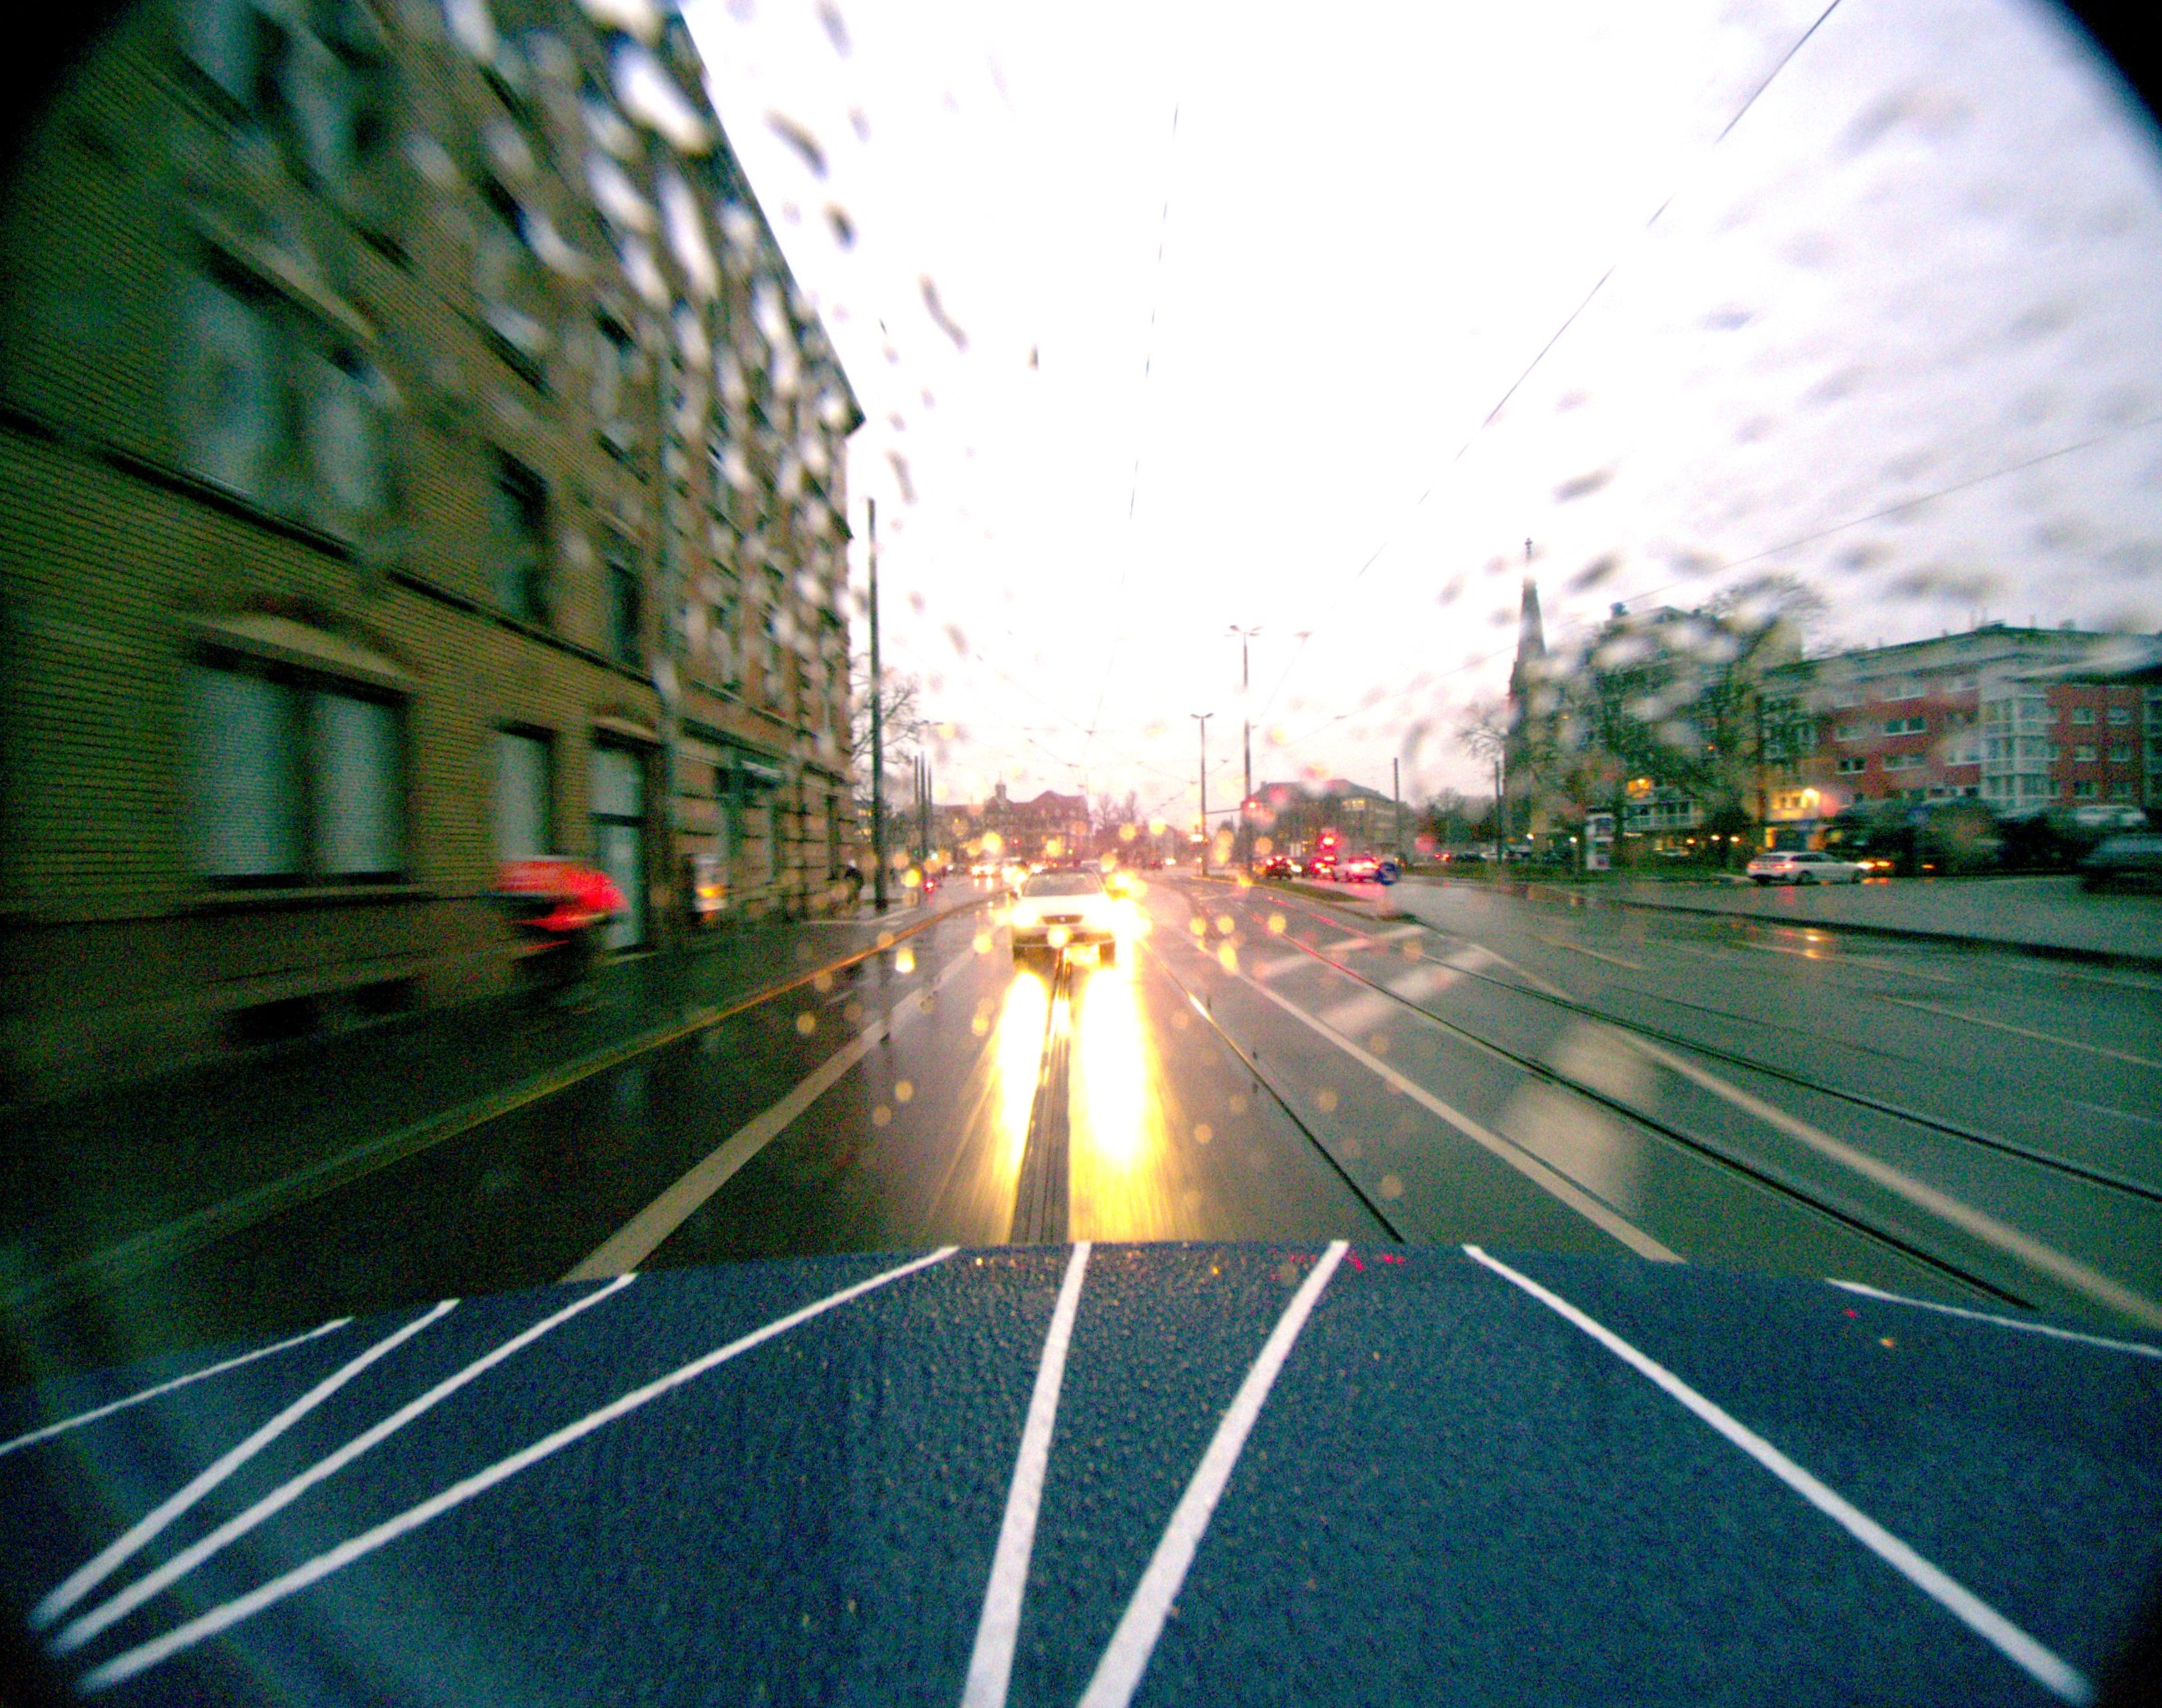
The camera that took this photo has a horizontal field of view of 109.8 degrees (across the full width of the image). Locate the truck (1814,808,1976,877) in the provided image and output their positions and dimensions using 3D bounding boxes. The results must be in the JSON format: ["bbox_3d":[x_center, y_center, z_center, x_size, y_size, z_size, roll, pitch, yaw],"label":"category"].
[{"bbox_3d":[43.678,-0.637,40.855,6.756,3.398,2.655,-2,1,-10],"label":"truck"}]

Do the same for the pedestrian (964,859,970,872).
[{"bbox_3d":[-15.513,1.576,103.273,0.638,1.752,0.510,-2,1,-12],"label":"pedestrian"}]

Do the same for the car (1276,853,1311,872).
[{"bbox_3d":[16.460,0.653,58.986,1.728,1.350,4.000,-2,0,2],"label":"car"}]

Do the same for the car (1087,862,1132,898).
[{"bbox_3d":[1.227,1.081,33.099,1.797,1.415,4.000,-2,0,1],"label":"car"}]

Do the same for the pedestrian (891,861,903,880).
[{"bbox_3d":[-16.460,1.451,68.008,0.818,1.666,0.749,-1,1,10],"label":"pedestrian"}]

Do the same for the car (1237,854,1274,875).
[{"bbox_3d":[13.070,0.762,57.035,1.904,1.477,4.000,-2,0,2],"label":"car"}]

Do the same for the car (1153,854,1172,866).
[{"bbox_3d":[11.716,0.840,109.253,1.996,1.543,4.004,-2,0,17],"label":"car"}]

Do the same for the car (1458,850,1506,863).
[{"bbox_3d":[42.103,0.252,79.783,2.003,1.302,3.990,-2,1,-37],"label":"car"}]

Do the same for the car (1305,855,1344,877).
[{"bbox_3d":[16.365,0.781,51.216,1.604,1.410,3.472,-2,0,3],"label":"car"}]

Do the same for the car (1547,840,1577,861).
[{"bbox_3d":[50.197,-0.359,79.320,1.994,2.002,4.008,-1,1,41],"label":"car"}]

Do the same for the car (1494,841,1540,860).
[{"bbox_3d":[48.401,-0.345,84.409,2.003,2.002,3.990,-2,1,-37],"label":"car"}]

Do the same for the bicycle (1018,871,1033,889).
[{"bbox_3d":[-3.255,1.518,44.921,0.725,0.985,2.212,-2,0,-1],"label":"bicycle"}]

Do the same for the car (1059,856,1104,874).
[{"bbox_3d":[0.055,1.396,94.918,5.537,2.002,2.004,-2,1,40],"label":"car"}]

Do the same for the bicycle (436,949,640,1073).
[{"bbox_3d":[-4.977,1.401,7.136,0.609,0.756,1.860,-1,0,-2],"label":"bicycle"}]

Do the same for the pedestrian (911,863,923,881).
[{"bbox_3d":[-15.046,1.651,69.864,0.821,1.610,0.747,-2,1,-33],"label":"pedestrian"}]

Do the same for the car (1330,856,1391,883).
[{"bbox_3d":[16.152,0.862,44.200,1.998,1.413,4.588,-2,0,3],"label":"car"}]

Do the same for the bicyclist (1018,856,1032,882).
[{"bbox_3d":[-3.277,0.866,44.849,0.727,1.525,0.785,-2,1,-1],"label":"bicyclist"}]

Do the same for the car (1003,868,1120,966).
[{"bbox_3d":[-0.251,1.025,13.863,1.797,1.415,4.000,-2,0,1],"label":"car"}]

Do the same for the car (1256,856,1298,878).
[{"bbox_3d":[12.828,0.821,49.968,1.876,1.382,4.001,1,0,3],"label":"car"}]

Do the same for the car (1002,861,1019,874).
[{"bbox_3d":[-8.837,1.697,95.415,1.829,1.499,3.801,-2,0,-10],"label":"car"}]

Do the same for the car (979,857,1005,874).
[{"bbox_3d":[-10.197,1.324,87.471,1.998,1.827,4.872,-2,0,5],"label":"car"}]

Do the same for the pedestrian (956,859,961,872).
[{"bbox_3d":[-16.598,1.547,102.935,0.638,1.752,0.510,-2,1,-12],"label":"pedestrian"}]

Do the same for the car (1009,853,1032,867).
[{"bbox_3d":[-8.189,0.842,102.147,2.021,1.809,3.682,-2,1,-21],"label":"car"}]

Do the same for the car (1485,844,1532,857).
[{"bbox_3d":[46.580,-0.382,82.909,2.003,1.302,3.990,-2,1,-37],"label":"car"}]

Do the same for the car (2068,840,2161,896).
[{"bbox_3d":[30.276,0.350,21.721,4.299,1.390,1.739,-2,1,-27],"label":"car"}]

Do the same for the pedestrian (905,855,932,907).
[{"bbox_3d":[-5.905,0.973,27.679,0.753,1.814,0.711,-2,1,2],"label":"pedestrian"}]

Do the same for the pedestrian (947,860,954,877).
[{"bbox_3d":[-14.012,1.542,81.402,0.511,1.752,0.637,-2,1,-33],"label":"pedestrian"}]

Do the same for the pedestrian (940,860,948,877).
[{"bbox_3d":[-14.605,1.549,81.065,0.651,1.811,0.637,-2,1,-33],"label":"pedestrian"}]

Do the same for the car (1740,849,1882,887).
[{"bbox_3d":[32.158,0.579,33.530,4.810,1.488,1.998,-2,0,-9],"label":"car"}]

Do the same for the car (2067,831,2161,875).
[{"bbox_3d":[38.684,-0.046,26.781,1.885,1.514,4.417,-2,0,-9],"label":"car"}]

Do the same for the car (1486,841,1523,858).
[{"bbox_3d":[54.245,-0.575,97.297,3.990,2.002,2.003,-2,1,26],"label":"car"}]

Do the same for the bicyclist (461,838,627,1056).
[{"bbox_3d":[-4.981,0.804,7.136,0.747,1.869,1.111,-1,1,-2],"label":"bicyclist"}]

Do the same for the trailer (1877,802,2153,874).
[{"bbox_3d":[51.971,-0.933,42.268,15.058,3.398,2.634,-2,1,-10],"label":"trailer"}]

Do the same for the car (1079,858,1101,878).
[{"bbox_3d":[0.728,1.188,64.000,1.824,1.565,4.000,-2,0,0],"label":"car"}]

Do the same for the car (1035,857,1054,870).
[{"bbox_3d":[-5.423,1.366,111.671,1.826,1.922,3.994,-2,0,-16],"label":"car"}]

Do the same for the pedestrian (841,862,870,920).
[{"bbox_3d":[-6.180,1.008,20.835,0.634,1.539,0.710,-2,1,-9],"label":"pedestrian"}]
